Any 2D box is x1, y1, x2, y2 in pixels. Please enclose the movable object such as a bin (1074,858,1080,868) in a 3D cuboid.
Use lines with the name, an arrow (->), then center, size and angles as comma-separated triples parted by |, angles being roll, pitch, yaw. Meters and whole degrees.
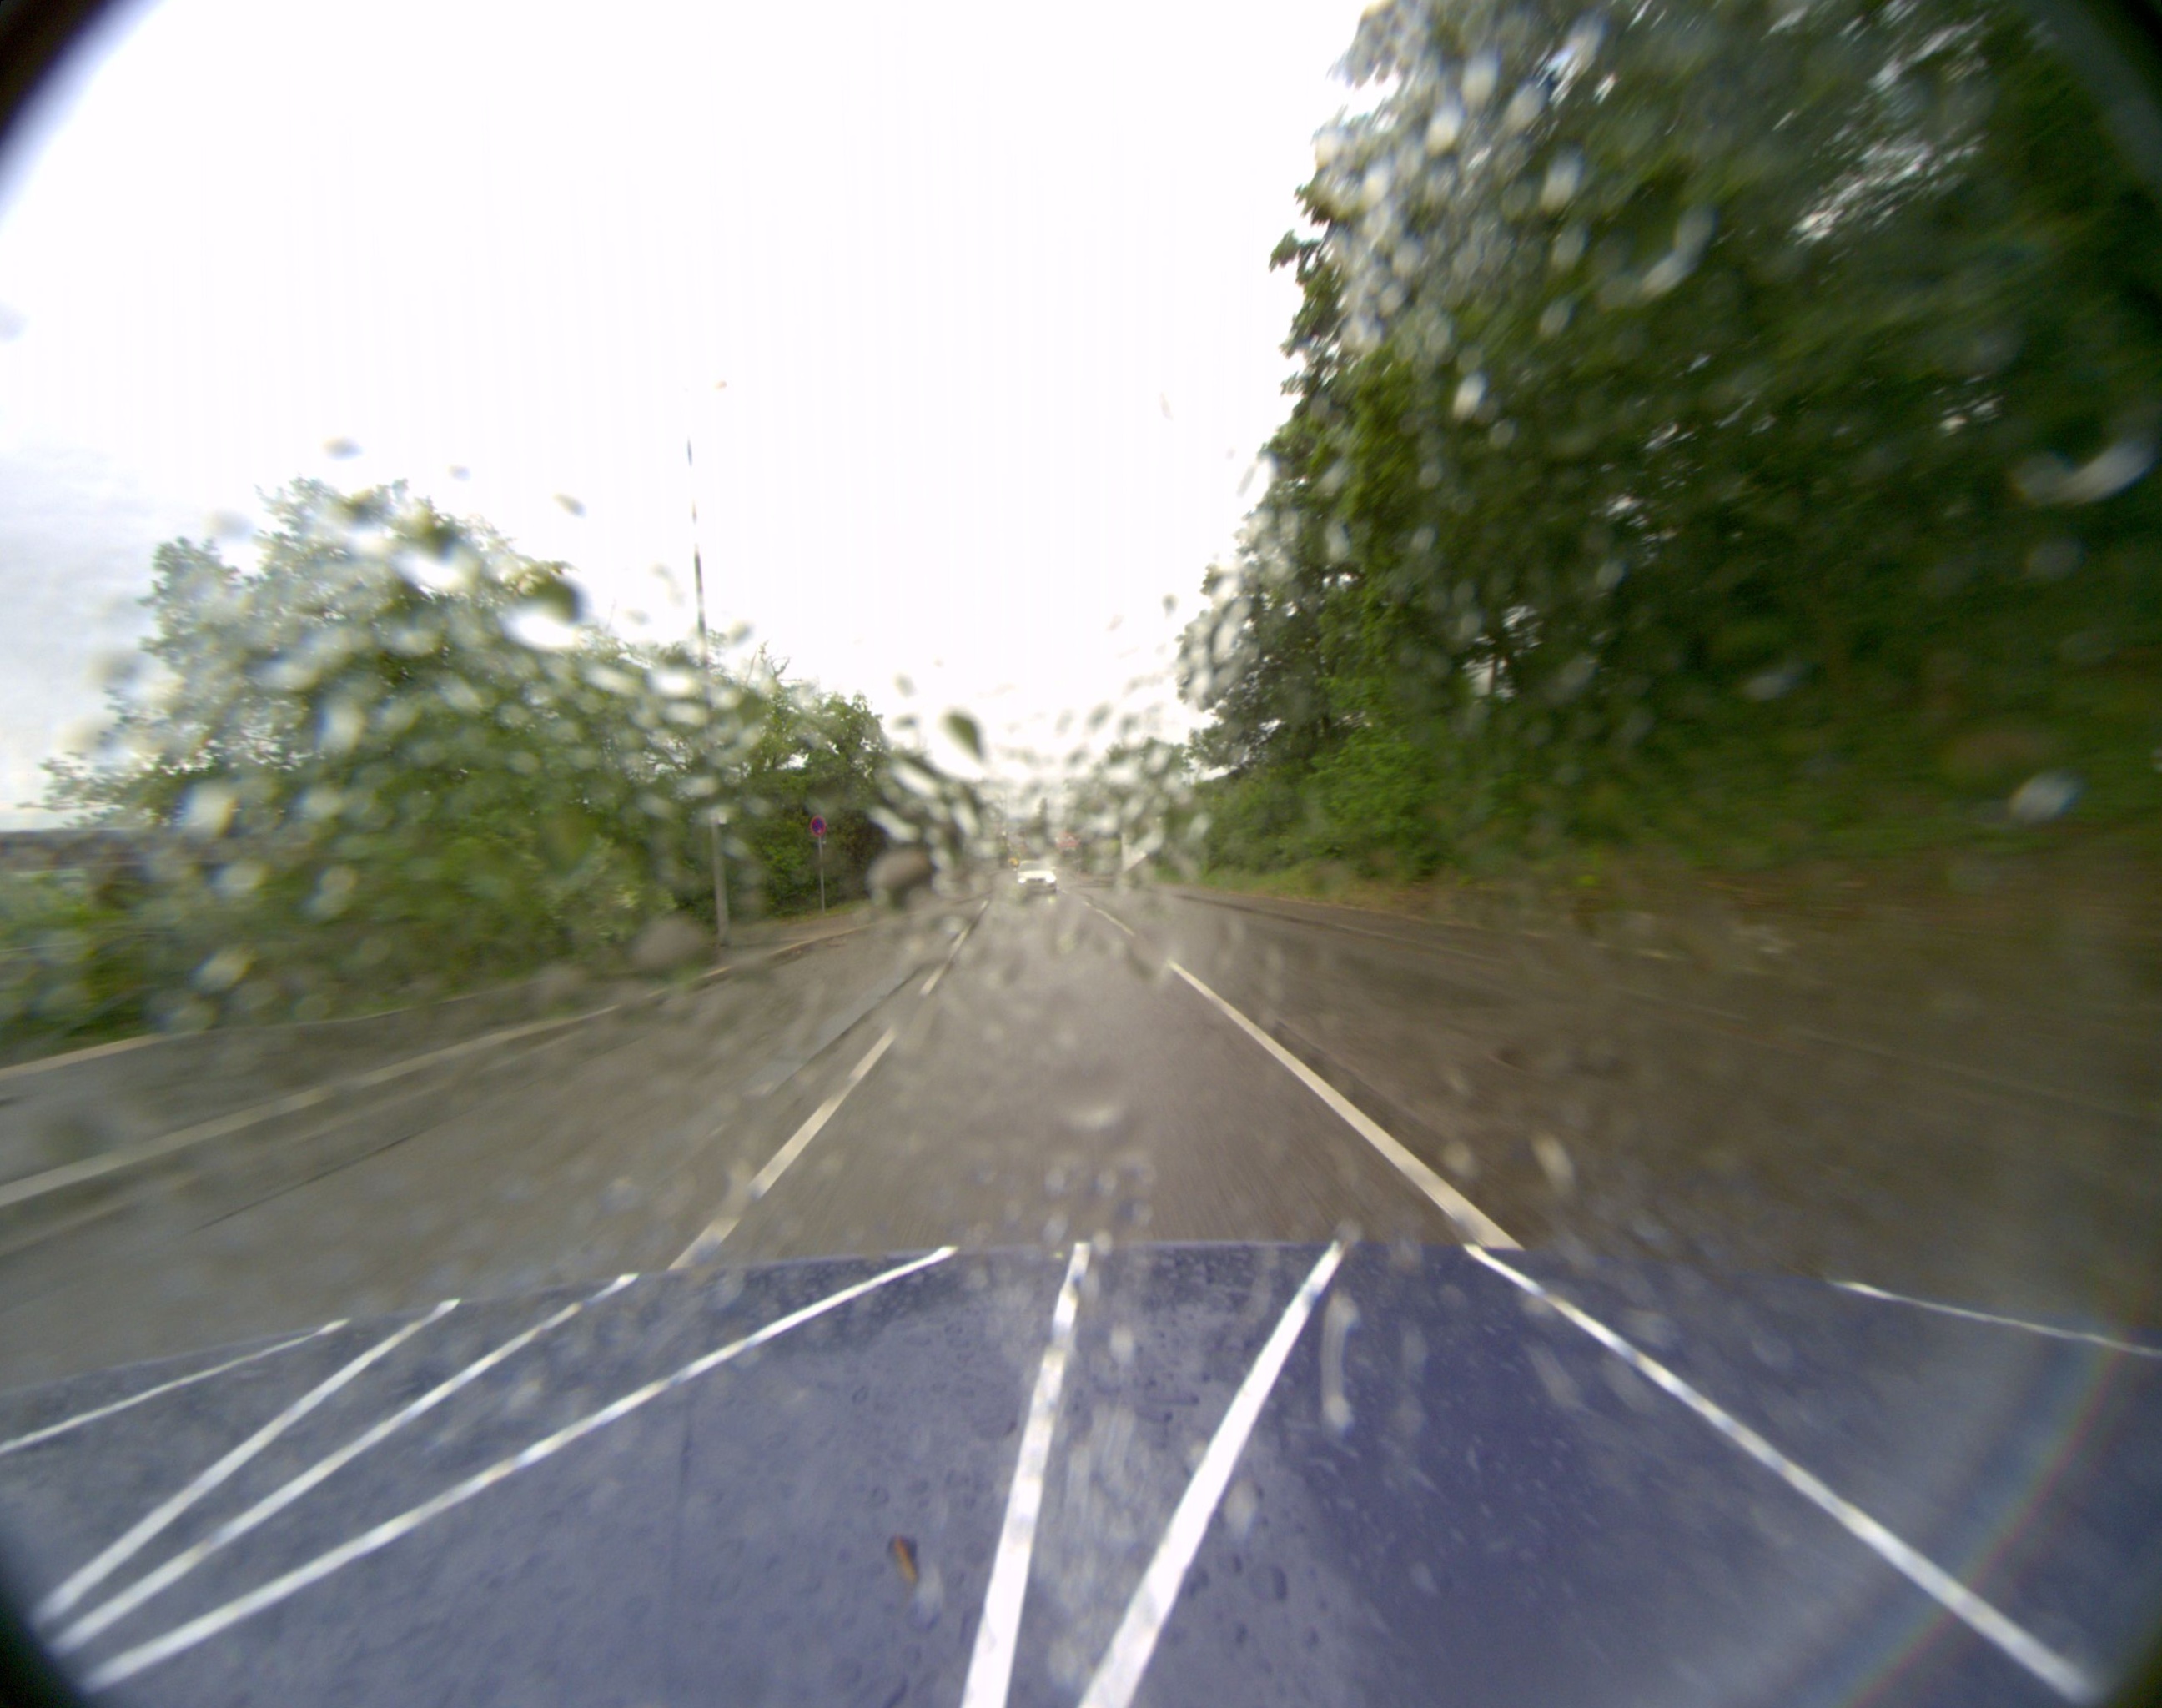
movable object such as a bin -> -0.438, 1.053, 86.979 | 0.649, 1.109, 0.505 | 1, 0, 2

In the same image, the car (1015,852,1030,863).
car -> -8.959, 0.509, 116.581 | 1.631, 1.485, 3.427 | 7, 1, 2

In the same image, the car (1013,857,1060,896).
car -> -1.929, 0.968, 34.048 | 1.798, 1.455, 3.999 | 3, 1, 1

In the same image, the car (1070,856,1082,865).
car -> -0.770, 0.976, 116.468 | 1.654, 1.376, 3.530 | 0, 0, 4
